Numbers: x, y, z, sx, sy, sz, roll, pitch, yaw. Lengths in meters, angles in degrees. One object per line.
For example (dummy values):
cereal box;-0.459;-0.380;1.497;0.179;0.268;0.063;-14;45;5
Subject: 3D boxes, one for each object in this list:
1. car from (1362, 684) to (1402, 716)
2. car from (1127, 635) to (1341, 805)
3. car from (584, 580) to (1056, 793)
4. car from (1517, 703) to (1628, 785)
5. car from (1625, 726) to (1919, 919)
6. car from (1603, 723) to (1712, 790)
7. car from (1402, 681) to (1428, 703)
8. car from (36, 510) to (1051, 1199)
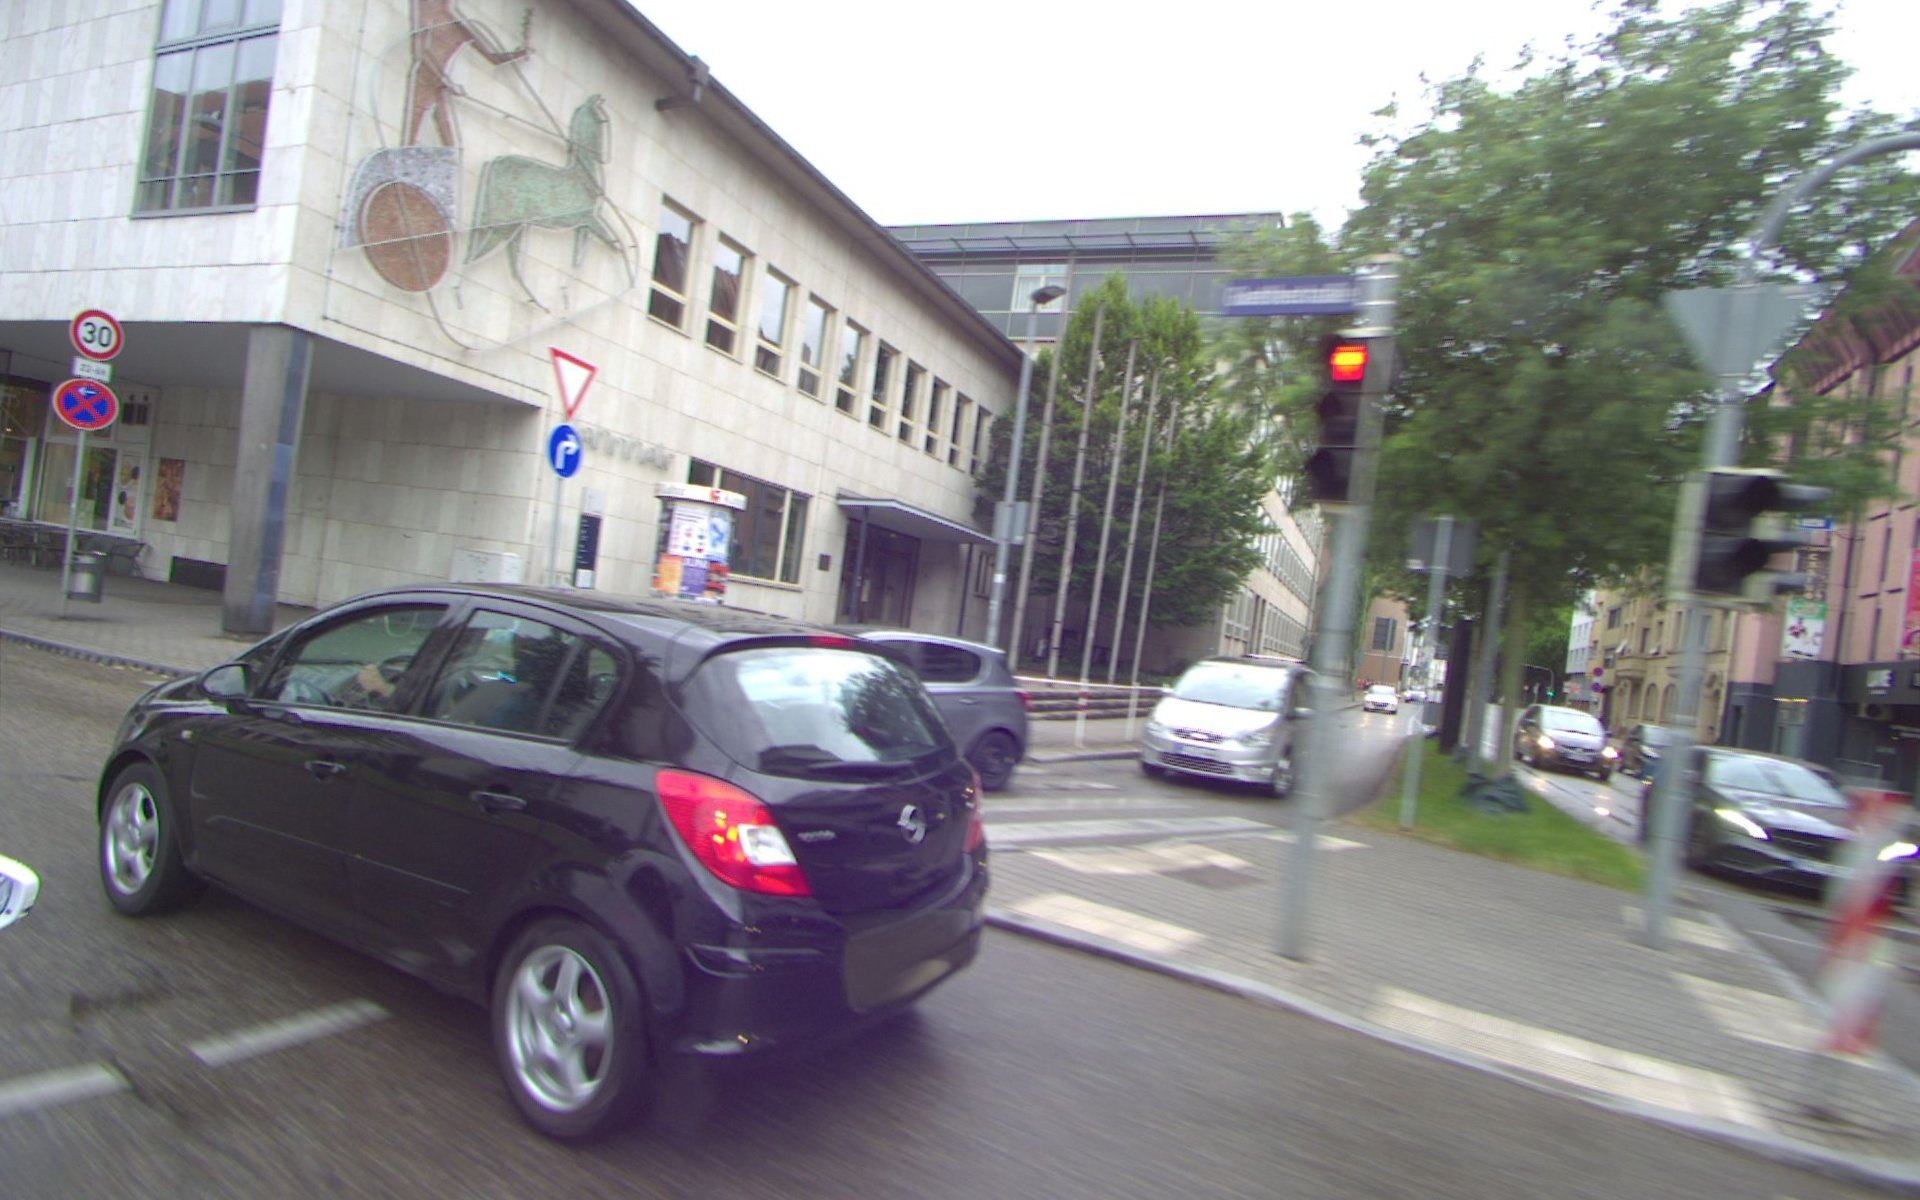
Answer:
car;23.520;5.540;55.978;1.770;1.487;3.999;7;-1;25
car;4.022;1.599;14.145;1.824;1.780;4.605;6;-2;28
car;-1.285;0.873;9.779;3.966;1.493;1.982;10;-3;-35
car;16.085;3.720;26.619;1.852;1.615;3.999;8;-1;25
car;9.498;2.441;11.988;1.755;1.436;4.273;8;-1;24
car;20.031;4.477;29.053;1.775;1.568;4.005;5;-5;25
car;38.977;7.914;86.316;1.770;1.485;4.004;7;-3;23
car;-1.743;0.657;4.032;3.678;1.473;1.713;7;-3;30
